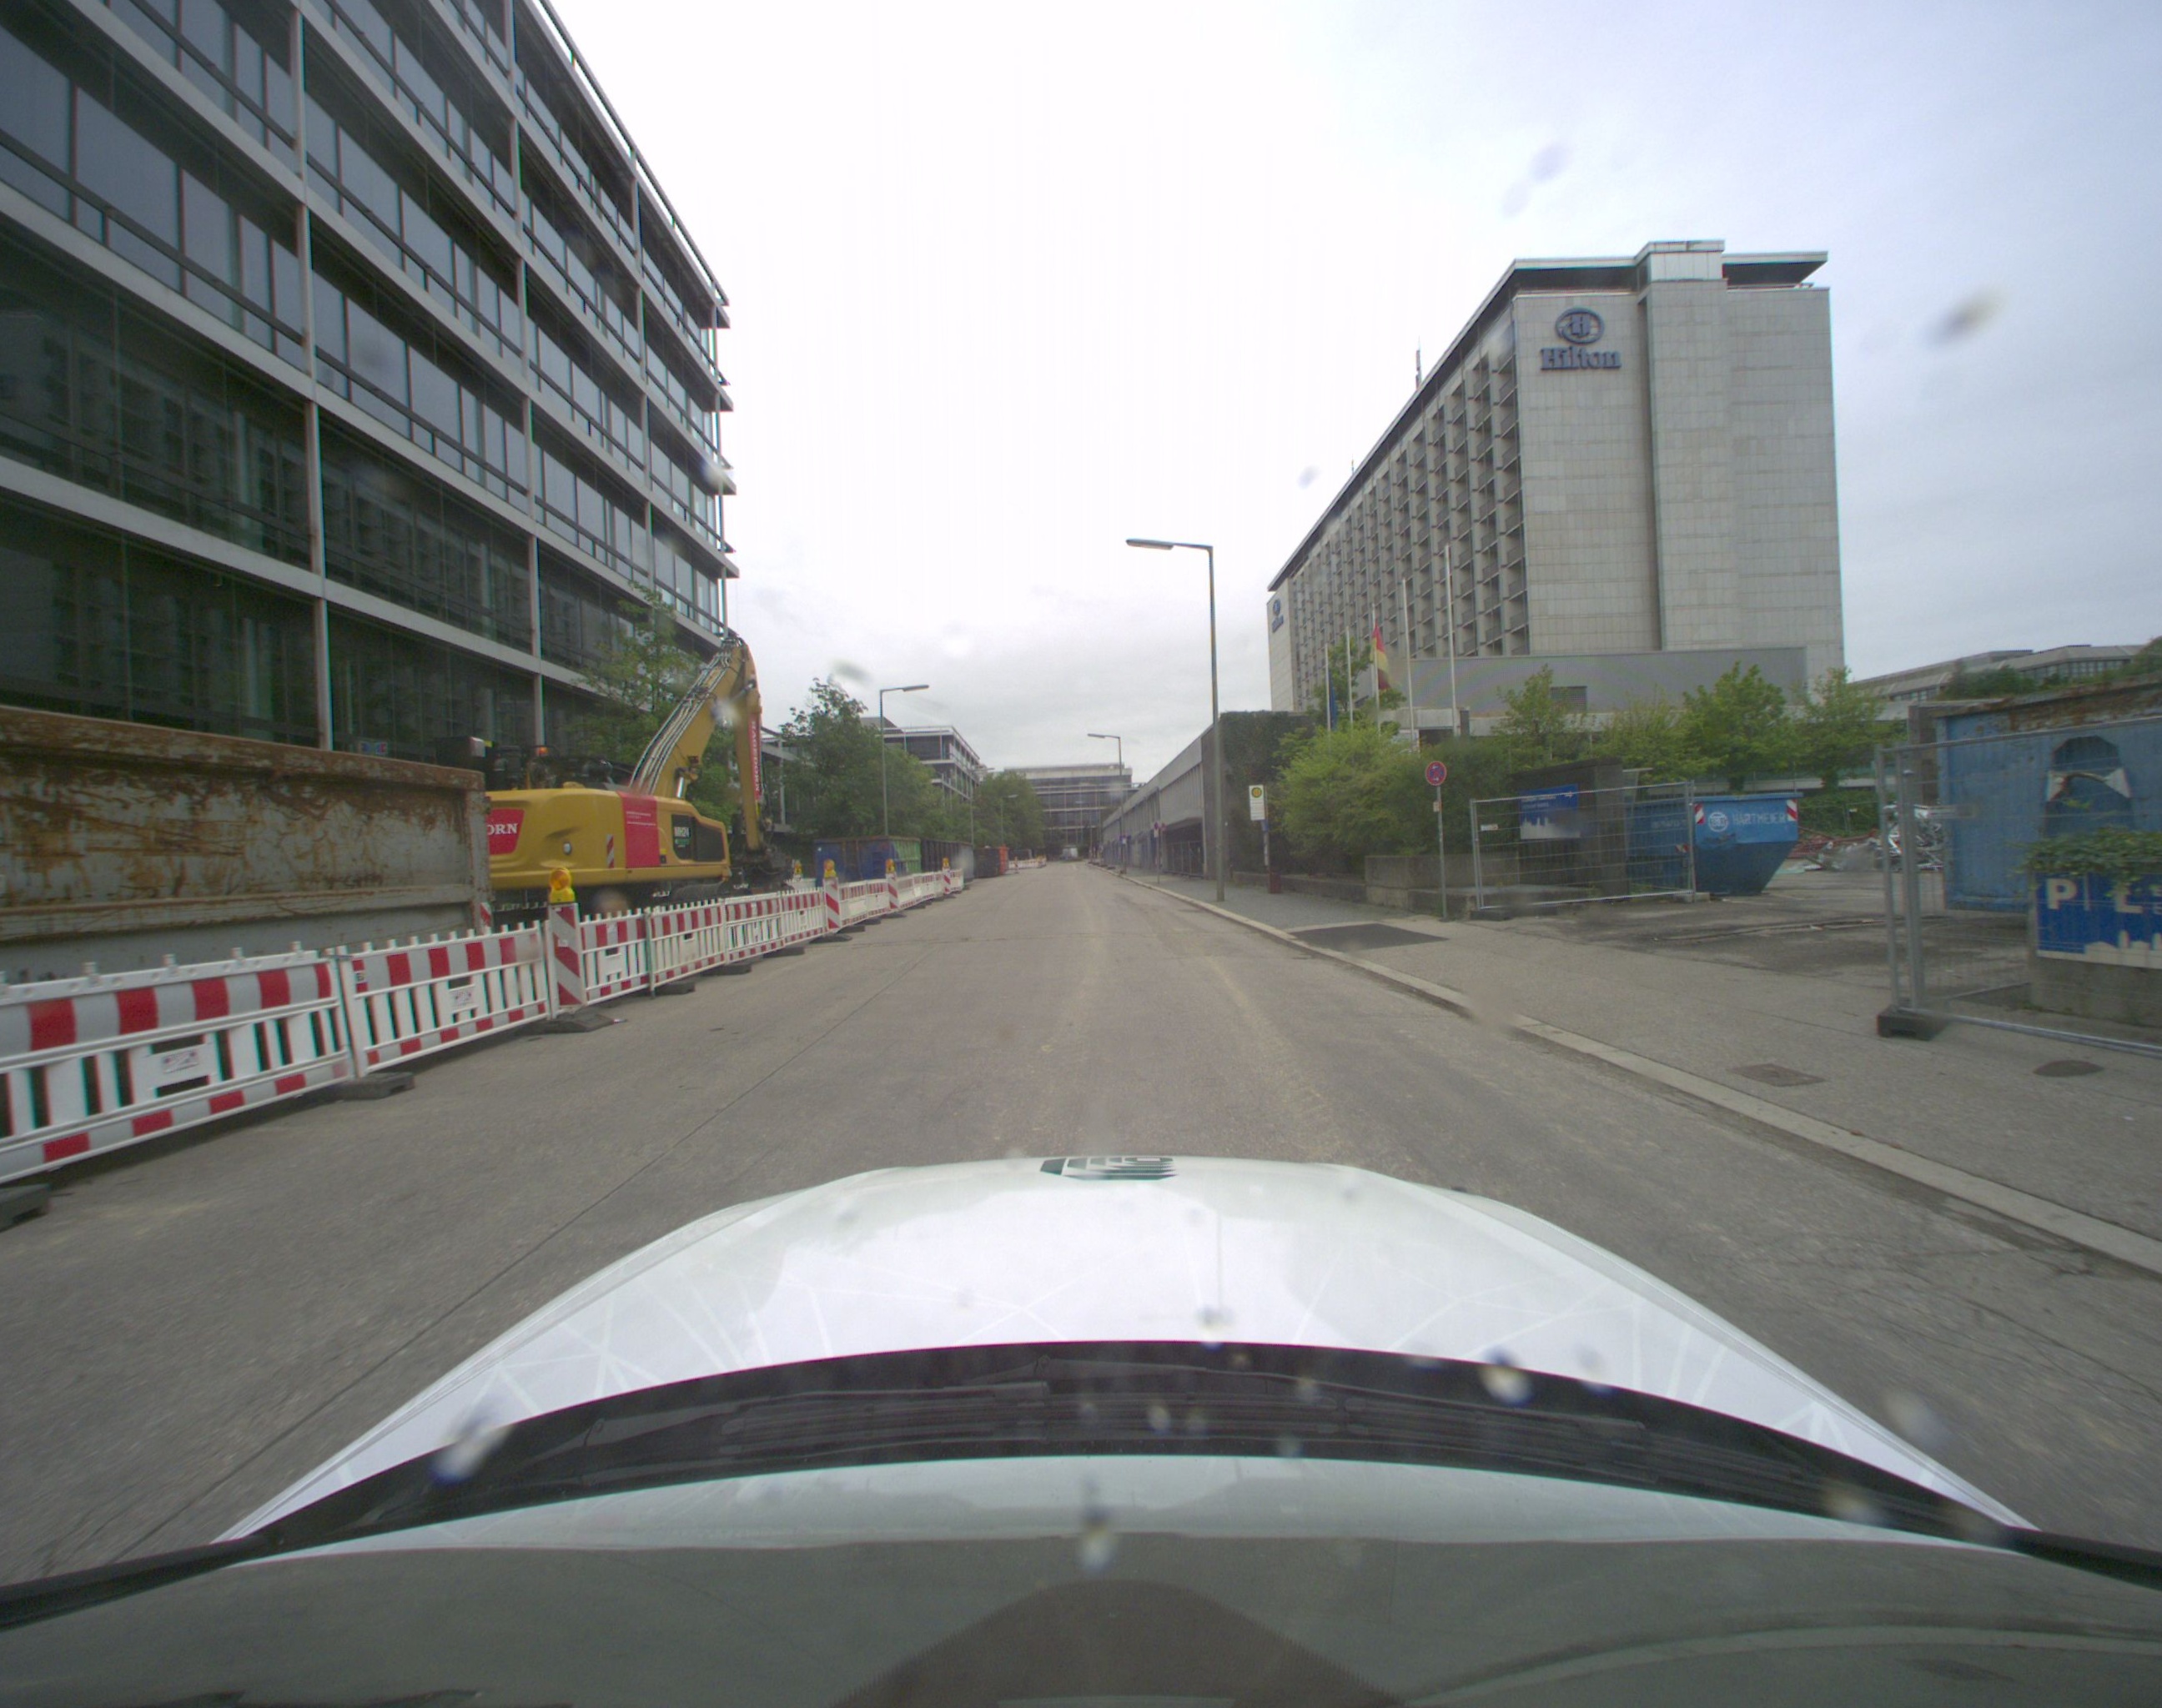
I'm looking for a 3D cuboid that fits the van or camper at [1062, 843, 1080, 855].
[{"bbox_3d":[-2.309,-1.158,188.695,2.097,2.492,5.023,-3,1,-27],"label":"van or camper"}]

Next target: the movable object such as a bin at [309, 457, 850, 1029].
[{"bbox_3d":[-7.519,-1.340,15.421,2.896,6.564,11.776,-3,0,-2],"label":"movable object such as a bin"}]
